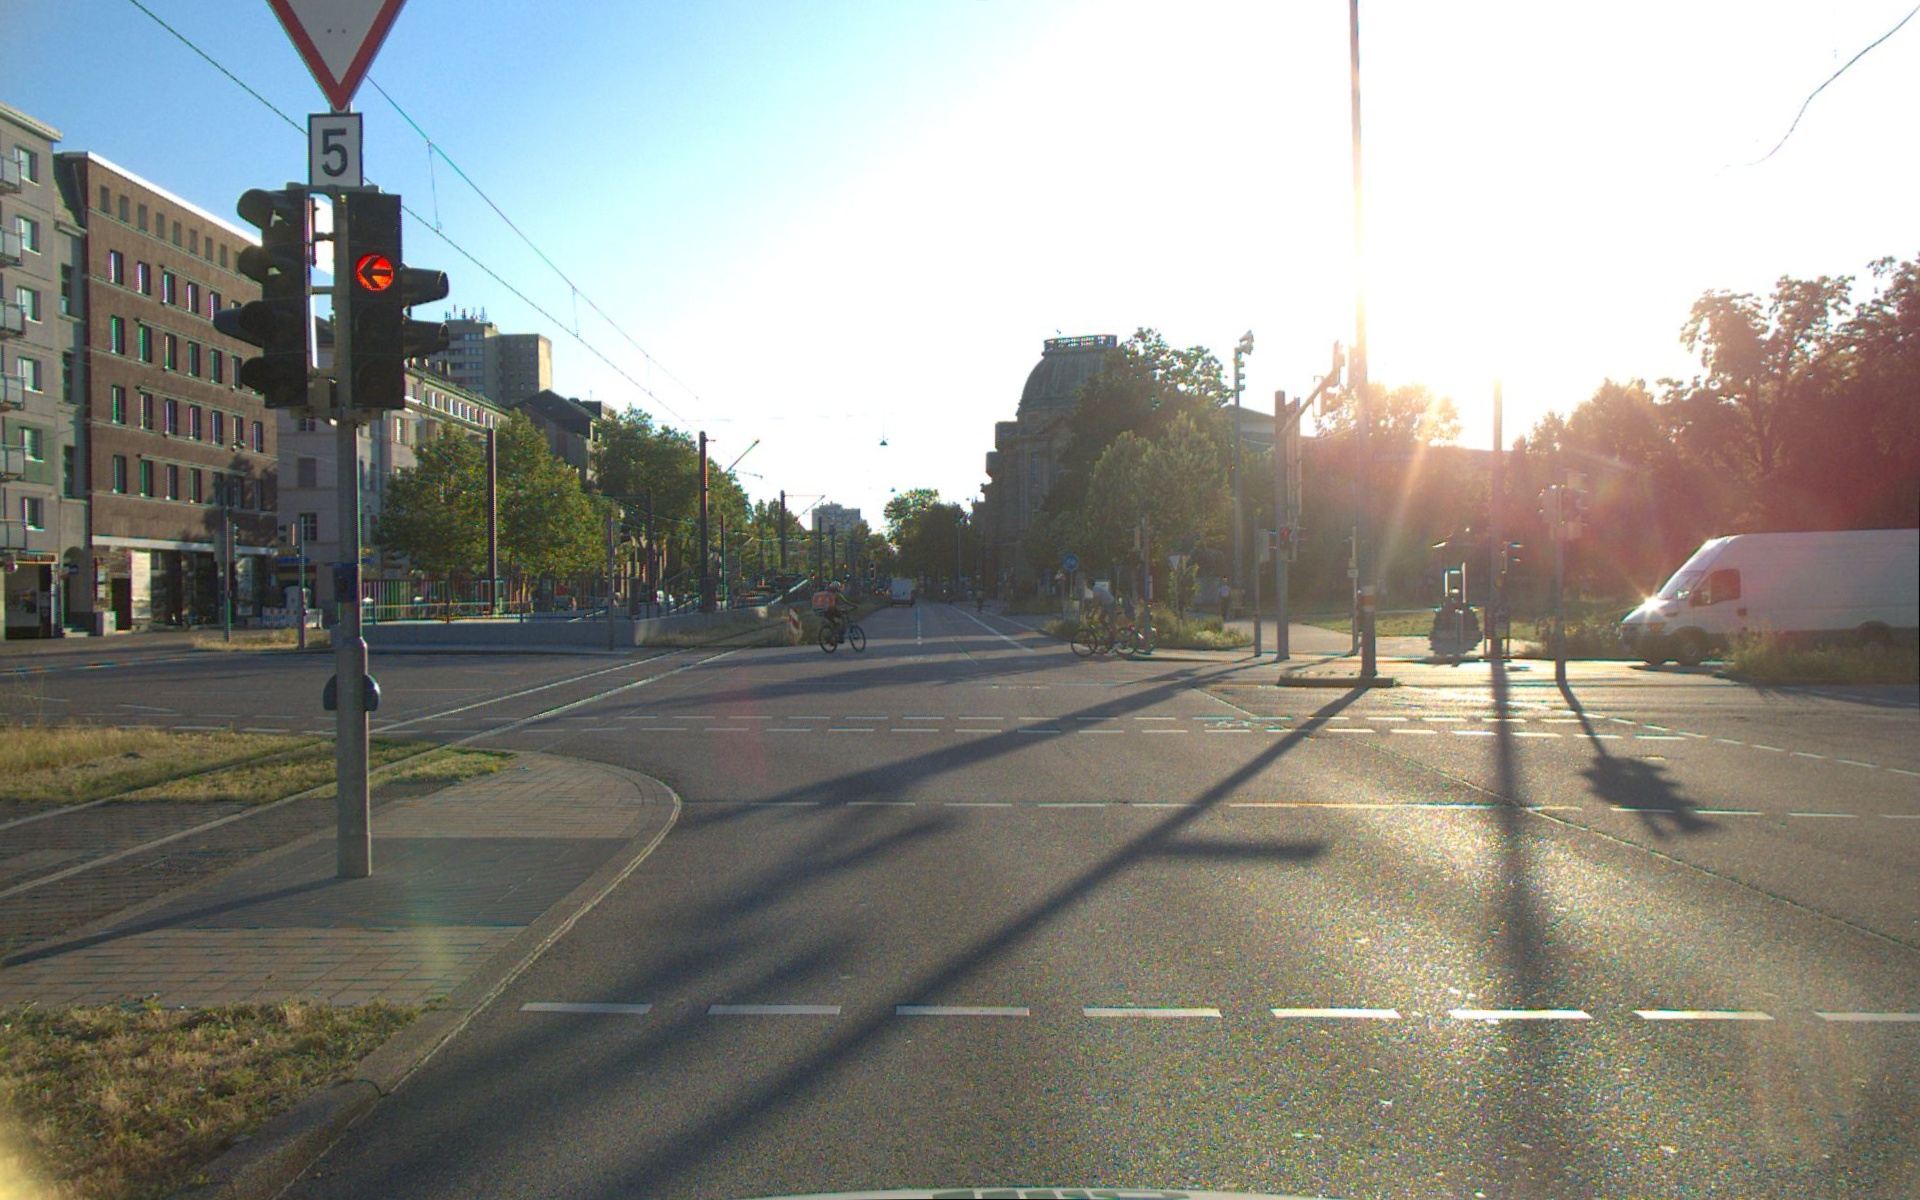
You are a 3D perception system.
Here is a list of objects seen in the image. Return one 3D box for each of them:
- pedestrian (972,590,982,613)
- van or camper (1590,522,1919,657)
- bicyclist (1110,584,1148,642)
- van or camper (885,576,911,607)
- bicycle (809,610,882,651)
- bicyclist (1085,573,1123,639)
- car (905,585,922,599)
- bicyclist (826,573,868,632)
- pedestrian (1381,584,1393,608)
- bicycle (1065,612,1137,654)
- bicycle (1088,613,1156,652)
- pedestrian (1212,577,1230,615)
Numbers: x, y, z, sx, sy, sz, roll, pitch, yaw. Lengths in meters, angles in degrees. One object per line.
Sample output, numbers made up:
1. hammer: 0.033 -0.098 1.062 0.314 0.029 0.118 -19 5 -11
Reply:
1. pedestrian: 1.155 0.091 111.356 0.603 1.501 0.800 -1 1 3
2. van or camper: 17.670 -0.272 36.008 6.898 2.721 2.599 -1 2 1
3. bicyclist: 4.415 0.339 43.199 0.837 1.467 0.662 -1 1 -6
4. van or camper: -5.600 -0.755 149.760 2.217 2.670 4.503 -1 2 -1
5. bicycle: -2.875 0.768 41.626 1.712 0.987 0.696 1 2 -33
6. bicyclist: 3.566 0.140 41.026 0.783 1.598 0.662 -1 1 -9
7. car: -4.944 -0.887 176.799 1.702 1.410 4.000 -1 2 -1
8. bicyclist: -2.848 0.063 41.613 0.845 1.467 0.656 0 1 -32
9. pedestrian: 30.747 -0.312 119.149 0.780 1.731 0.801 -1 0 14
10. bicycle: 3.487 0.815 41.019 1.696 0.987 0.608 0 1 -10
11. bicycle: 4.230 0.846 43.182 1.685 0.987 0.609 0 1 -7
12. pedestrian: 11.479 -0.178 72.703 0.668 1.639 0.612 -1 1 -1
